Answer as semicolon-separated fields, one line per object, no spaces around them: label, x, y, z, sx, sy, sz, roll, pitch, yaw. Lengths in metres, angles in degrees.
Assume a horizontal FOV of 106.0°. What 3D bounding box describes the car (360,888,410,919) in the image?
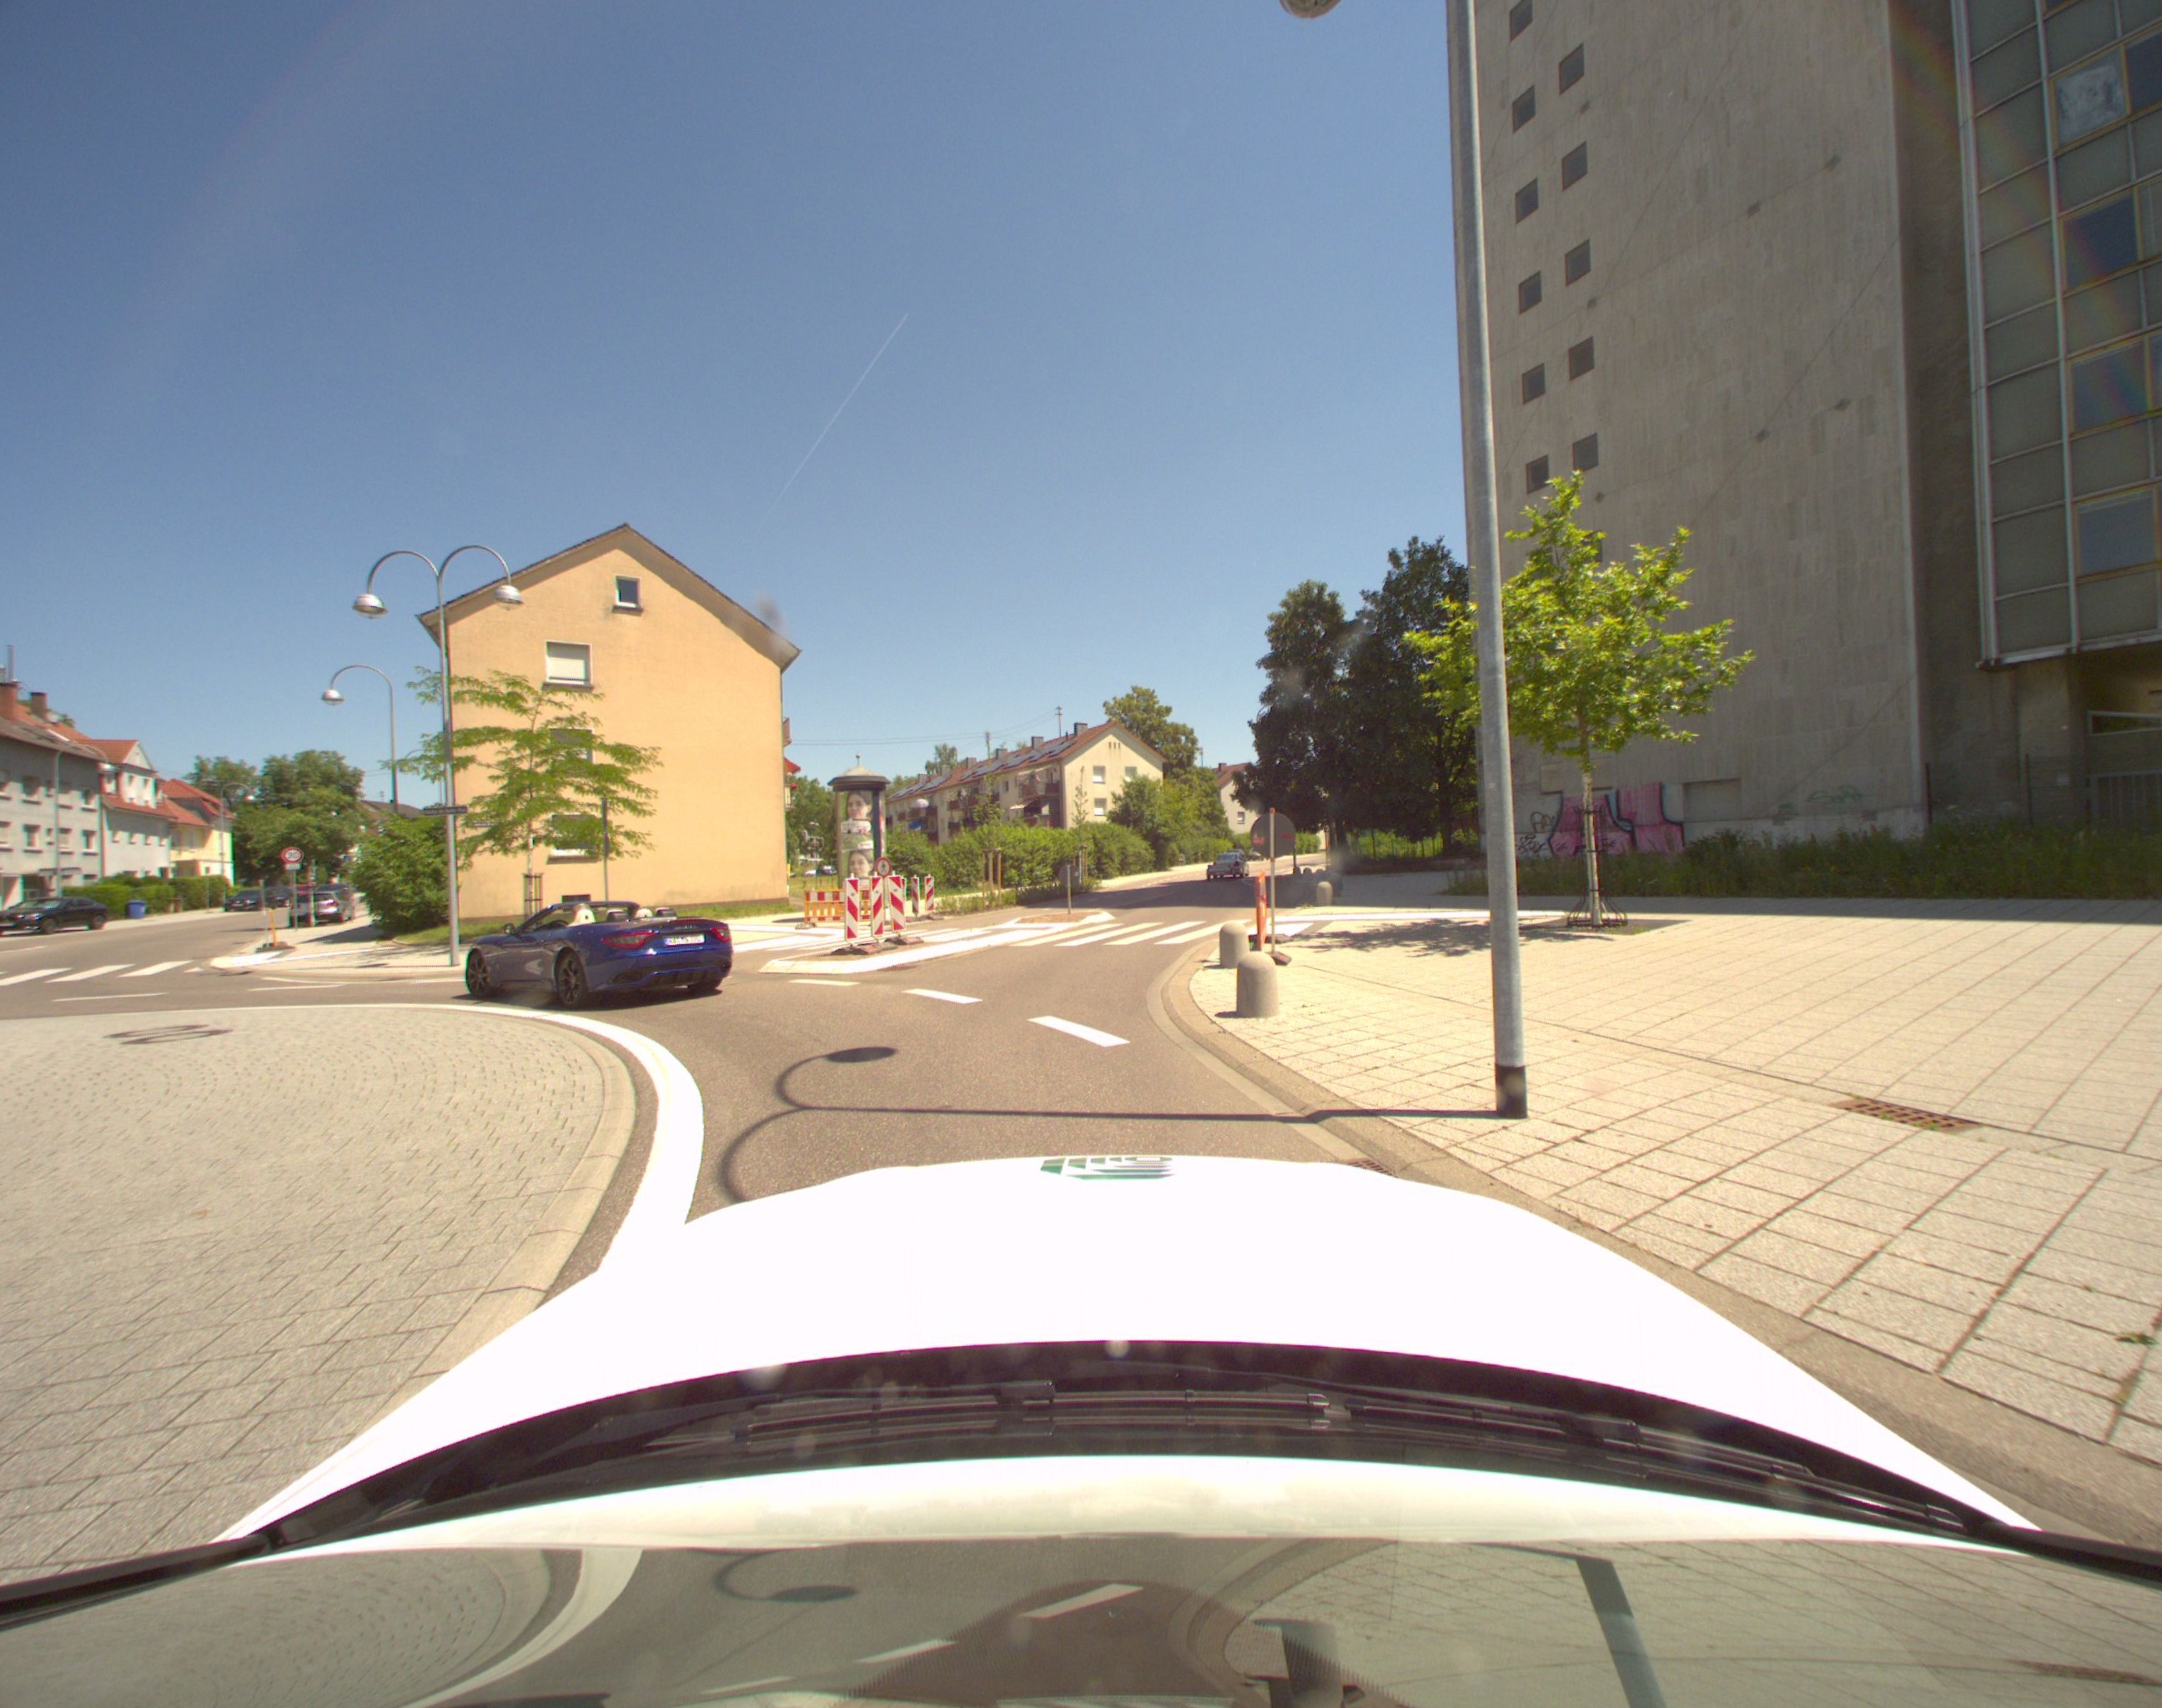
car;-43.432;3.056;50.881;1.825;1.794;3.959;0;-2;-32

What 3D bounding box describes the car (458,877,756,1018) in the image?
car;-6.721;1.245;11.371;4.448;1.530;1.889;-5;-2;36

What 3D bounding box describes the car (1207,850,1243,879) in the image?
car;8.076;0.576;45.488;1.727;1.436;3.723;-4;0;12

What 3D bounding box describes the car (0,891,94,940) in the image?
car;-47.132;2.741;36.757;2.082;2.013;3.959;-3;0;-33

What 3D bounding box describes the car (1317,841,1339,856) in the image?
car;27.575;-0.594;90.820;1.722;1.436;3.733;-4;0;26

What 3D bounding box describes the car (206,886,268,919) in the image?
car;-56.652;3.196;54.727;2.083;2.013;3.957;-3;0;-35

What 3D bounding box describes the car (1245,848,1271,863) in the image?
car;18.797;0.133;86.191;1.722;1.436;3.733;-4;0;27
